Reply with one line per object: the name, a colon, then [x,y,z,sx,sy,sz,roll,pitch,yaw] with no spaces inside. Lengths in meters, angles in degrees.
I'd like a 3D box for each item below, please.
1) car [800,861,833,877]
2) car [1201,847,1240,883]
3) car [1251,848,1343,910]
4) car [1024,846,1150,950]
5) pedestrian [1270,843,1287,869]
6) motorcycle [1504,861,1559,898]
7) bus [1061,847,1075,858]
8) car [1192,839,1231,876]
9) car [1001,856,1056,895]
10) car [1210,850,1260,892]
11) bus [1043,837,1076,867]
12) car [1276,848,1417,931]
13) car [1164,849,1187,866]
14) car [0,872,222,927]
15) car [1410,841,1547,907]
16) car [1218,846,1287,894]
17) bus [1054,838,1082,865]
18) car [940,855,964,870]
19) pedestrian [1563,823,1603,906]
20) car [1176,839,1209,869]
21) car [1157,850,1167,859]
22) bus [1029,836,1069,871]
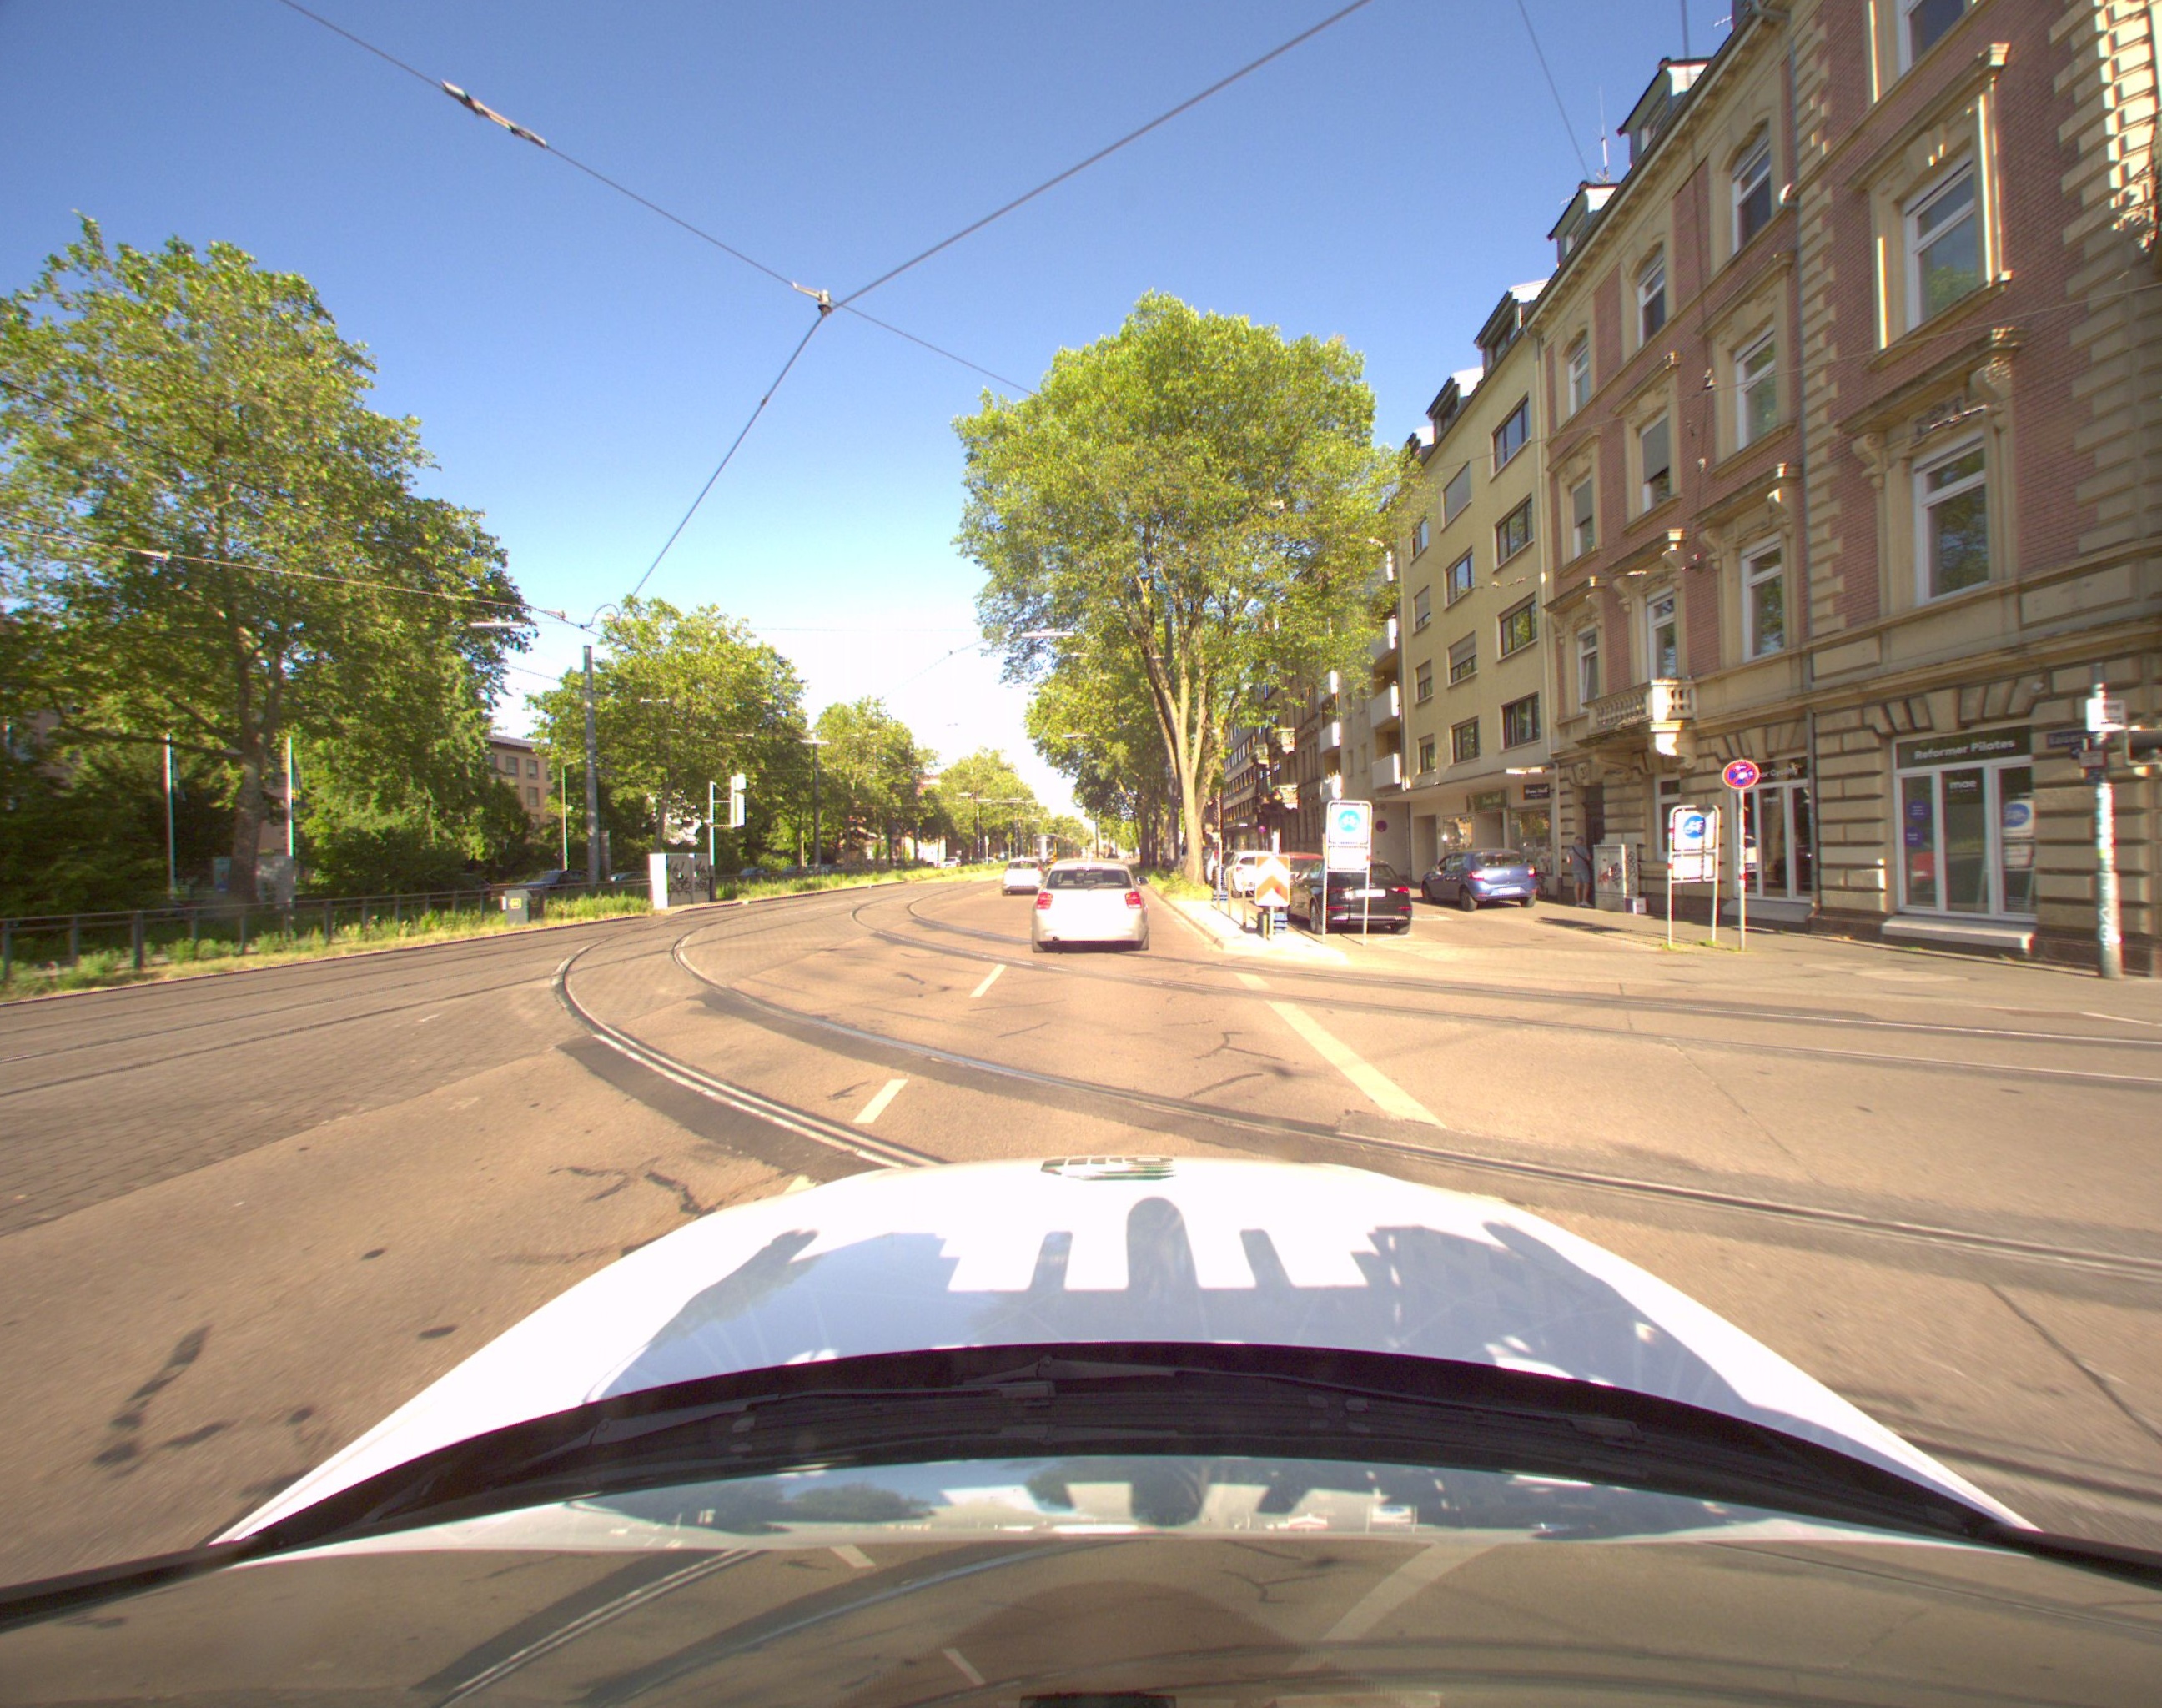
car: [-23.767,1.311,73.285,1.561,1.312,3.507,1,1,3]
car: [6.116,0.446,35.928,1.504,1.480,3.498,1,1,6]
car: [5.615,0.585,21.576,1.582,1.434,3.909,1,1,3]
car: [0.177,0.611,13.595,1.755,1.432,4.003,-1,1,3]
pedestrian: [13.731,0.138,56.653,0.995,1.840,0.716,-1,0,5]
motorcycle: [12.221,0.677,22.150,0.484,0.895,1.874,-4,1,3]
bus: [-4.249,-0.518,271.943,2.856,3.628,24.628,-1,0,4]
car: [6.330,0.125,39.722,1.617,1.668,4.148,1,1,5]
car: [-2.009,0.783,32.009,1.639,1.362,3.764,1,1,4]
car: [5.914,0.599,31.567,1.554,1.485,3.792,1,1,5]
bus: [-2.468,-0.255,99.808,2.856,3.444,12.227,-1,0,4]
car: [5.190,0.617,16.492,1.689,1.421,4.173,1,1,3]
car: [8.258,0.293,71.629,1.797,1.490,4.926,1,0,5]
car: [-26.003,1.155,21.916,1.613,1.221,3.767,-1,0,4]
car: [10.514,0.453,21.871,1.687,1.480,4.001,-5,1,1]
car: [5.695,0.468,27.401,1.620,1.477,3.698,1,1,1]
bus: [-1.704,-0.373,111.561,2.856,3.444,11.622,-1,0,4]
car: [-14.856,0.977,93.948,1.878,1.619,4.601,1,1,2]
pedestrian: [12.384,0.244,20.121,0.509,2.013,0.854,1,1,6]
car: [7.155,-0.030,52.680,1.856,1.815,4.805,1,1,4]
car: [16.481,0.087,166.455,1.747,1.964,4.741,-1,1,3]
bus: [-3.225,-0.082,87.169,2.856,3.444,13.230,-1,0,4]
